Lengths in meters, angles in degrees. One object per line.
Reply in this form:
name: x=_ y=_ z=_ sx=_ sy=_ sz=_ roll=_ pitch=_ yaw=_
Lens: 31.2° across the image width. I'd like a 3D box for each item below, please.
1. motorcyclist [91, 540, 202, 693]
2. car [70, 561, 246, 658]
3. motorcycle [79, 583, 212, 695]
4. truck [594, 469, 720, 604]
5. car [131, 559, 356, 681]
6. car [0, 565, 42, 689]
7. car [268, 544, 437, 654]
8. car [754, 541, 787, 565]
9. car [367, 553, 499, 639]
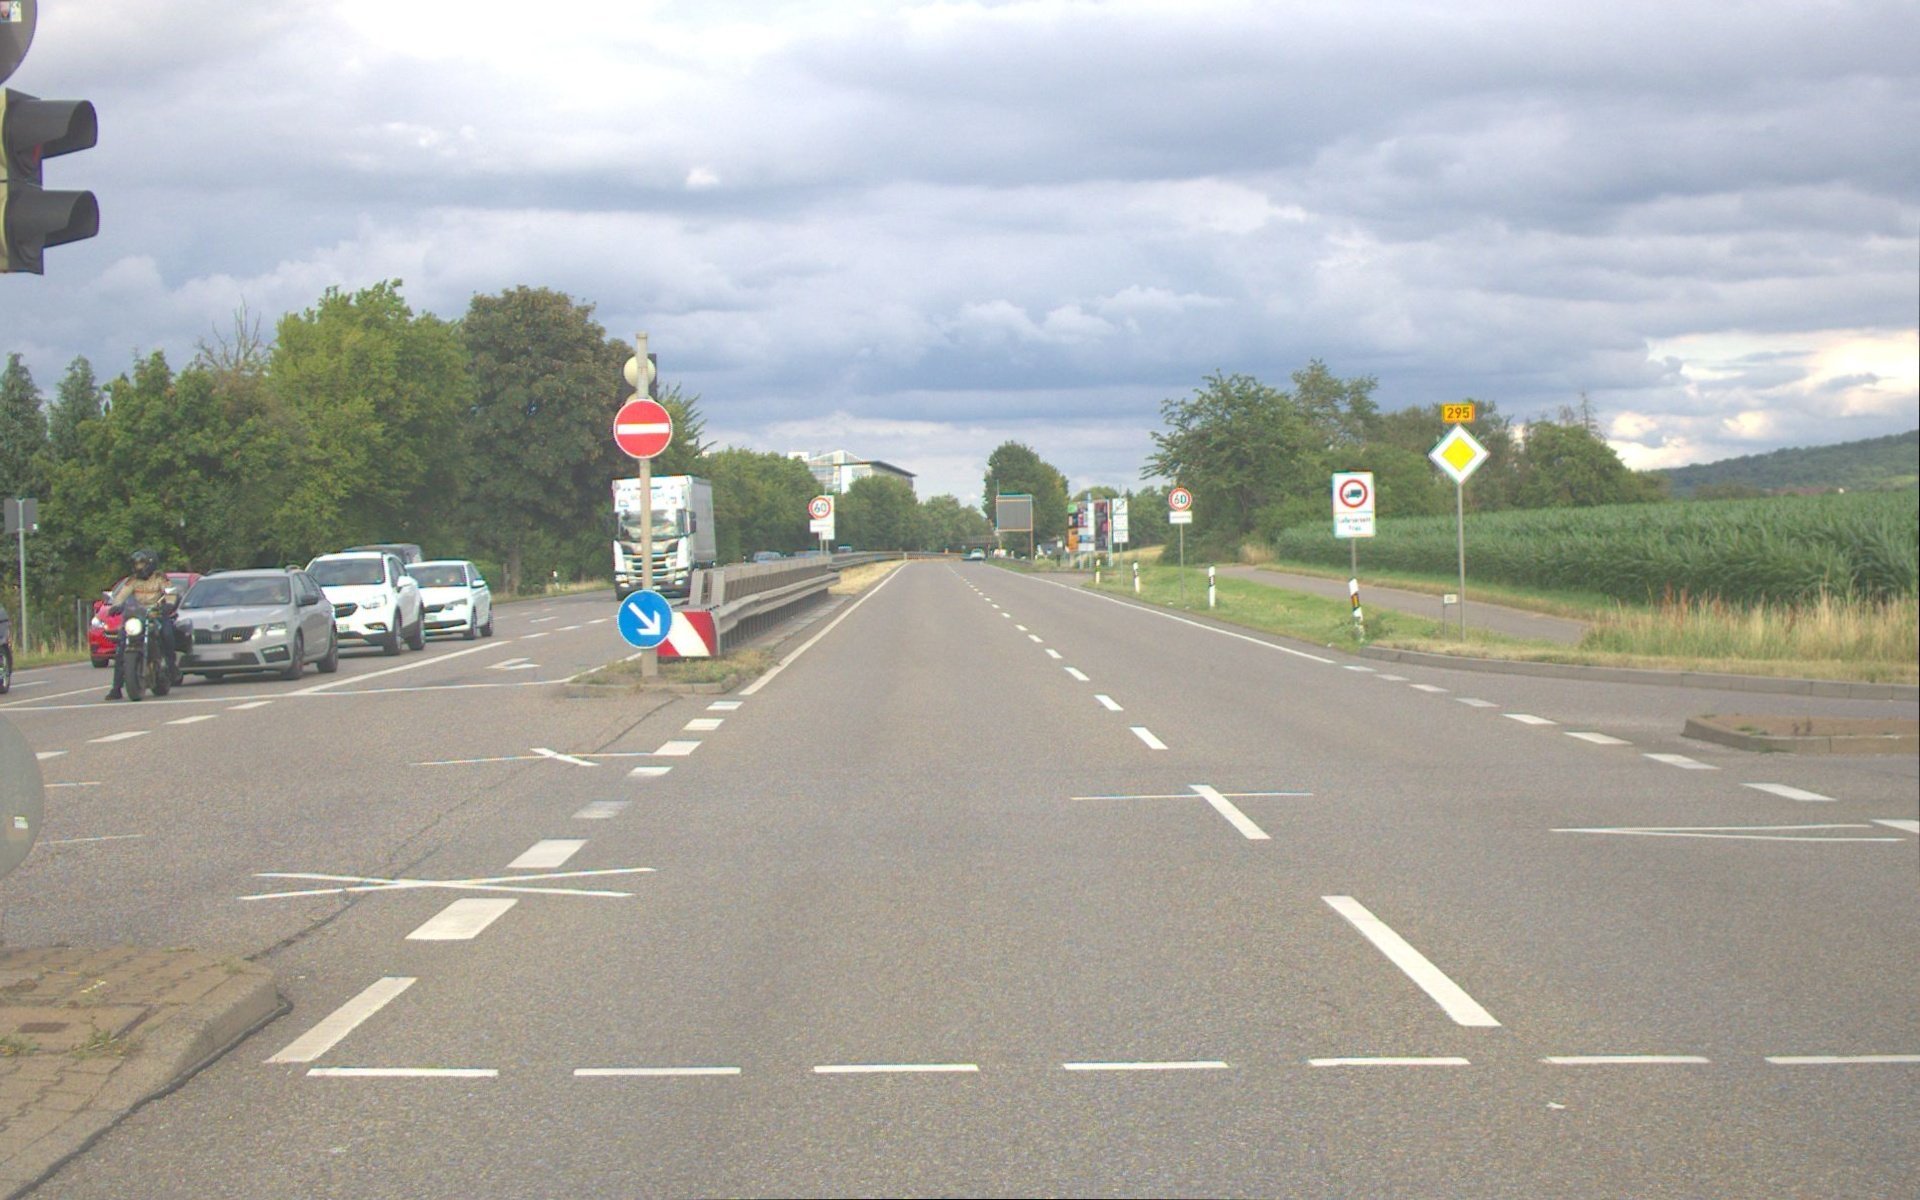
motorcyclist: x=-9.386 y=0.182 z=39.720 sx=0.916 sy=1.703 sz=1.276 roll=-2 pitch=0 yaw=0
car: x=-13.128 y=0.127 z=56.514 sx=1.907 sy=1.460 sz=4.184 roll=-2 pitch=1 yaw=-1
motorcycle: x=-9.386 y=0.432 z=39.725 sx=0.916 sy=1.199 sz=2.479 roll=-2 pitch=1 yaw=0
truck: x=-9.889 y=-2.081 z=112.864 sx=3.474 sy=4.136 sz=6.050 roll=-3 pitch=1 yaw=0
car: x=-9.354 y=0.216 z=45.275 sx=1.907 sy=1.423 sz=5.152 roll=-2 pitch=1 yaw=-1
car: x=-12.985 y=0.383 z=42.593 sx=1.907 sy=1.530 sz=4.939 roll=-2 pitch=1 yaw=-1
car: x=-9.585 y=-0.048 z=54.536 sx=1.907 sy=1.604 sz=4.405 roll=-2 pitch=1 yaw=-1
car: x=-11.589 y=-2.877 z=210.390 sx=1.789 sy=1.381 sz=4.161 roll=-2 pitch=1 yaw=-1
car: x=-9.643 y=-0.098 z=63.116 sx=1.789 sy=1.439 sz=4.161 roll=-2 pitch=1 yaw=-1
